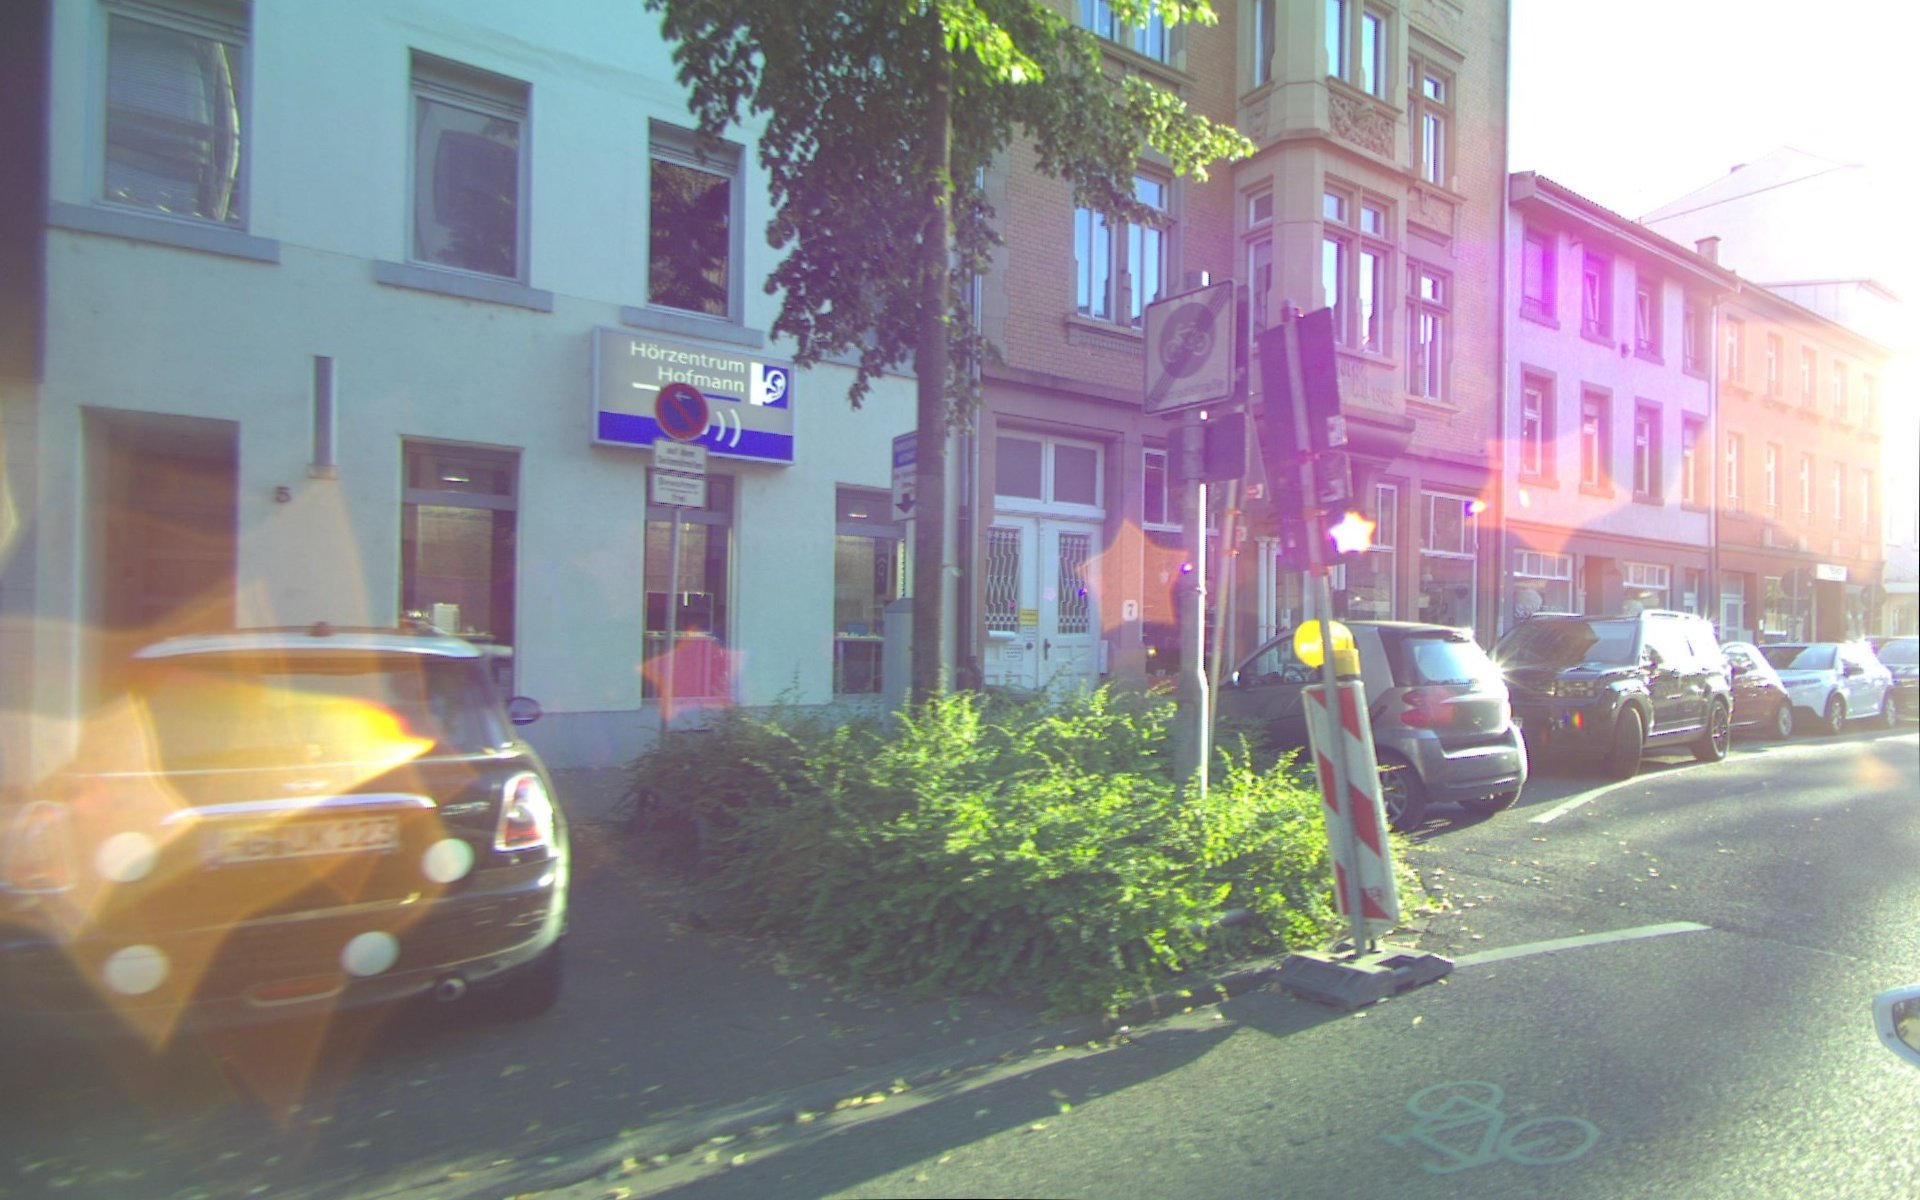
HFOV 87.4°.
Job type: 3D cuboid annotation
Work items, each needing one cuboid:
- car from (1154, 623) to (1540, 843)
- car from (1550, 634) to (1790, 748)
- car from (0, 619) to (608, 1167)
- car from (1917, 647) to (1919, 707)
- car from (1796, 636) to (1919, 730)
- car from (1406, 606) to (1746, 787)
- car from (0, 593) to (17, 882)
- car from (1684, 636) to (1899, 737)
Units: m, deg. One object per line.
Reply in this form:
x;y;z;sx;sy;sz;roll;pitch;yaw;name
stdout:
3.198;0.995;8.633;1.556;1.540;2.676;0;-2;-35;car
10.792;1.332;15.248;3.446;1.534;1.765;2;-4;-32;car
-2.783;0.832;4.530;1.667;1.410;3.381;1;-1;-30;car
25.244;1.876;24.557;4.263;1.459;1.704;2;-3;-33;car
18.248;1.541;19.600;4.191;1.654;1.764;2;-2;-32;car
7.396;1.040;11.881;4.660;1.751;1.890;3;-3;-38;car
-4.966;0.712;3.356;1.836;1.537;3.873;2;-1;-31;car
14.483;1.425;17.463;3.906;1.535;1.764;2;-1;-32;car
